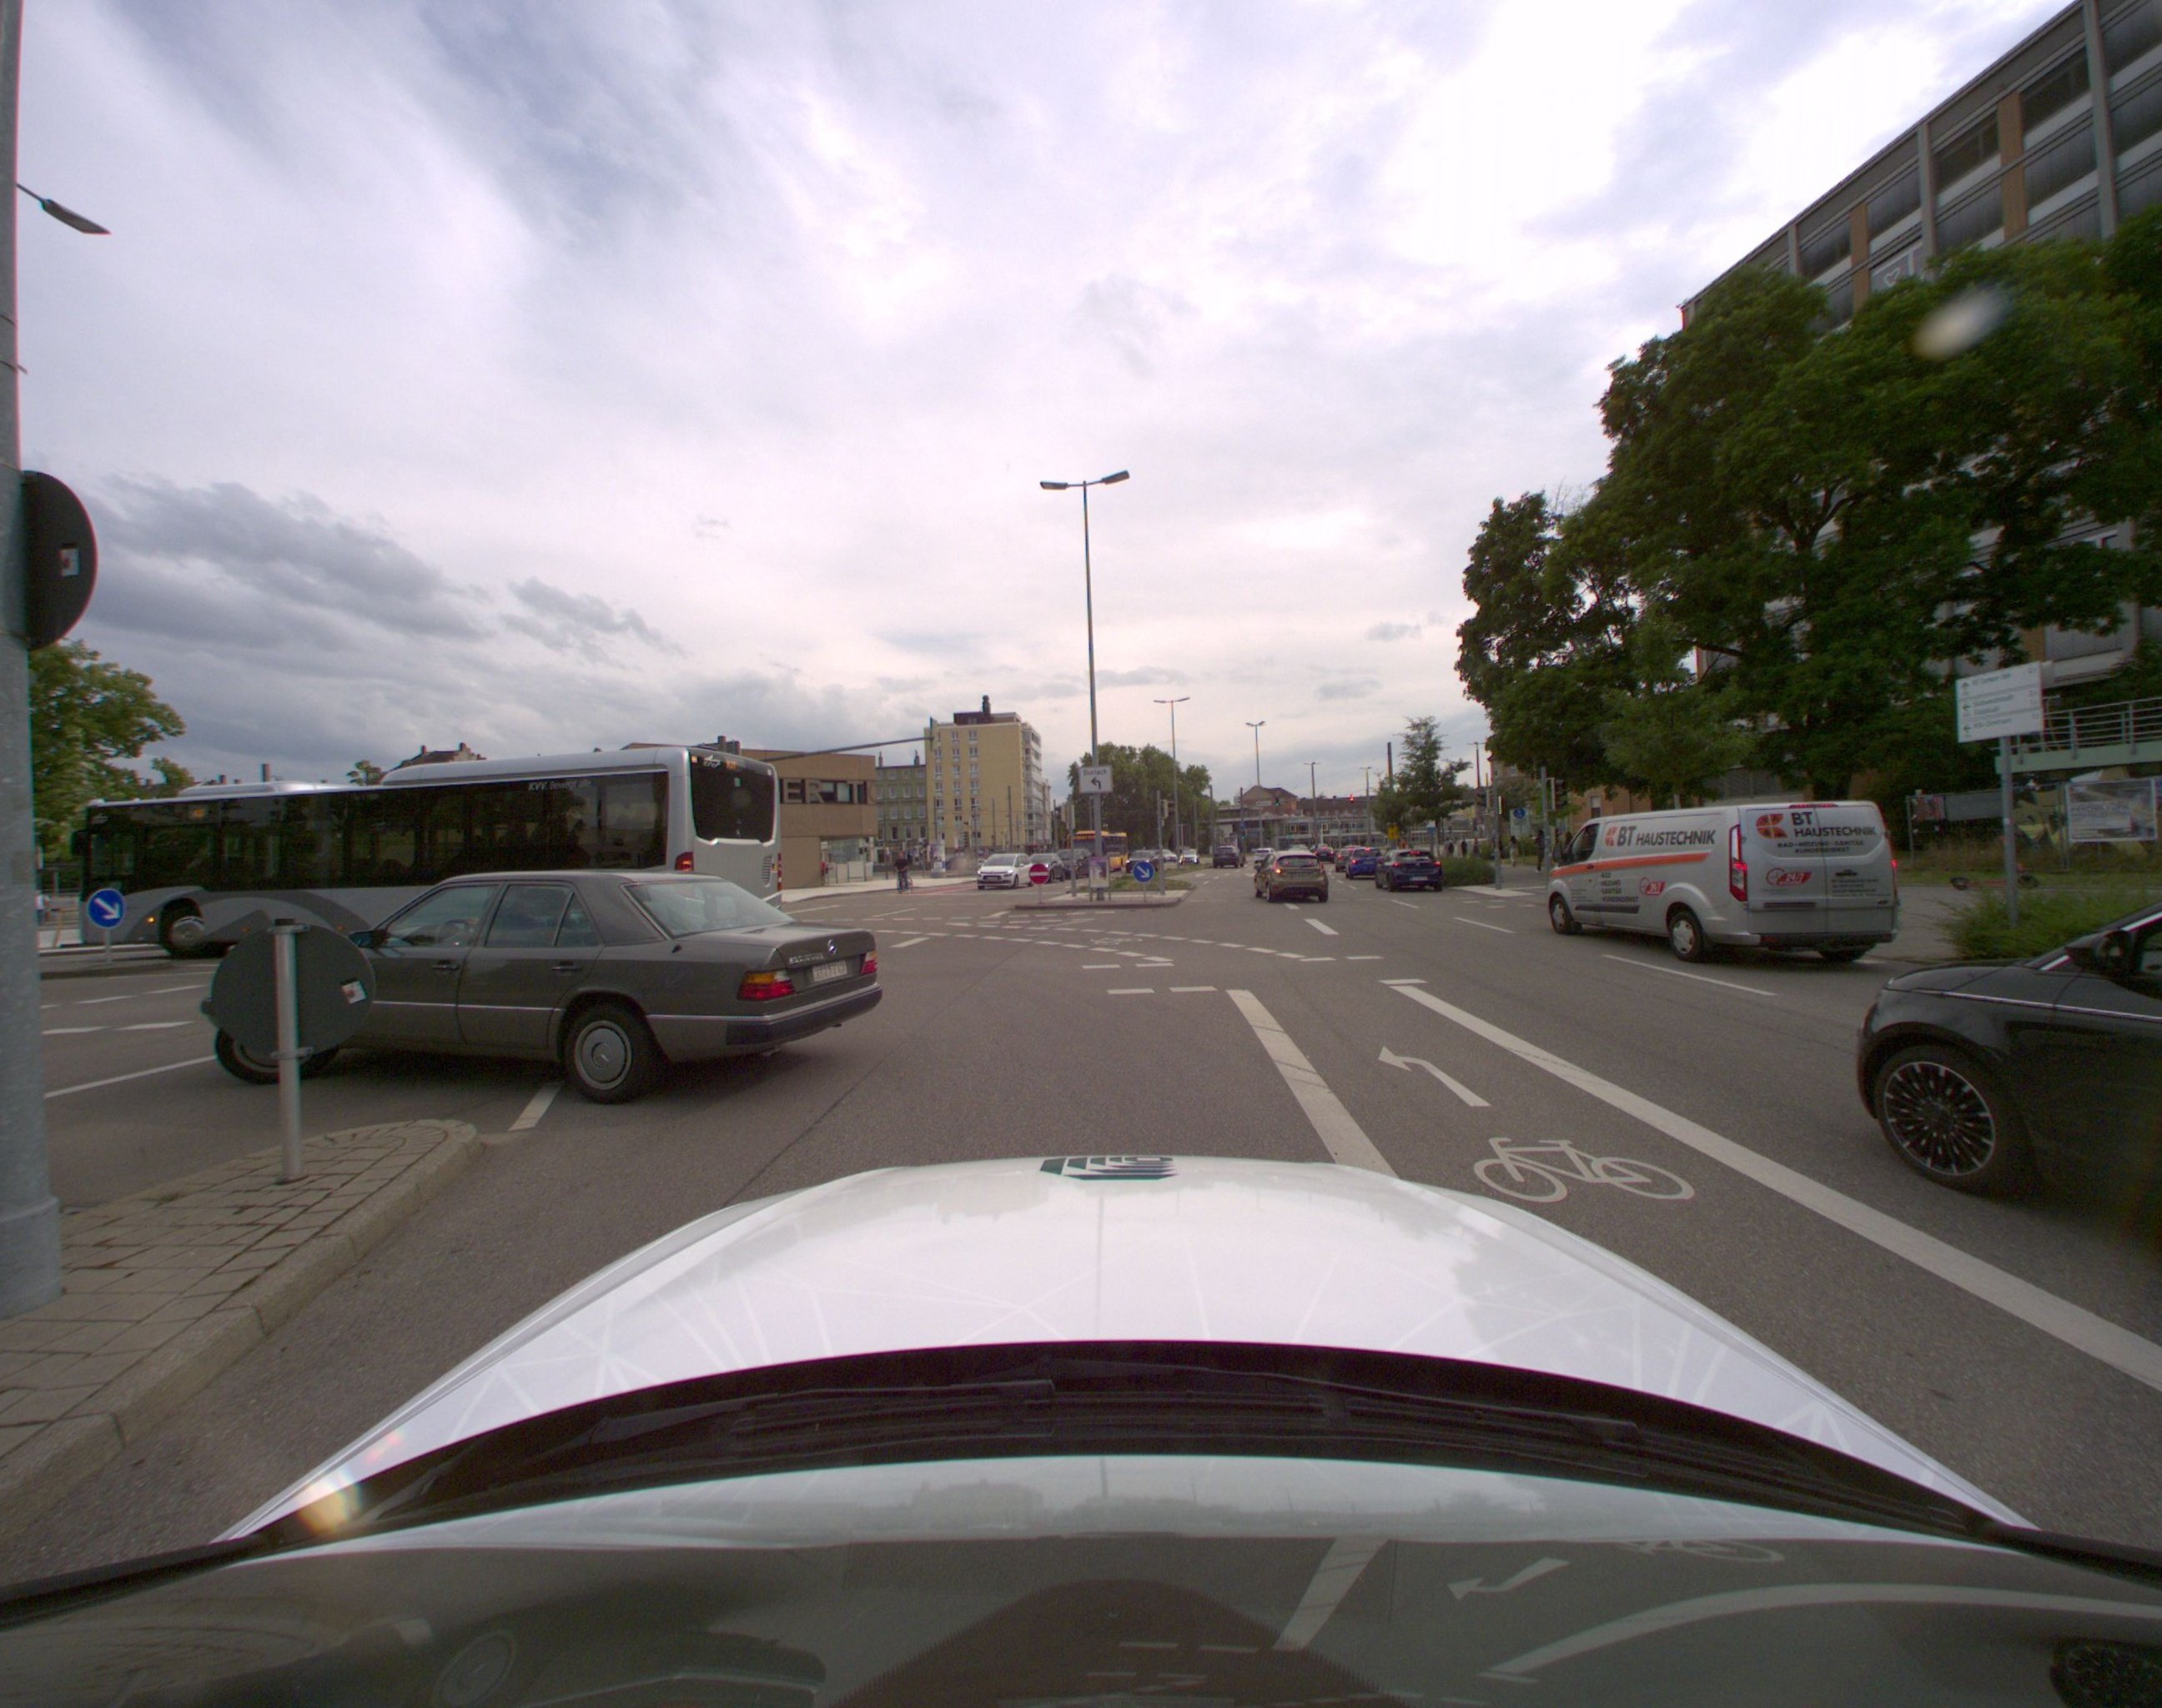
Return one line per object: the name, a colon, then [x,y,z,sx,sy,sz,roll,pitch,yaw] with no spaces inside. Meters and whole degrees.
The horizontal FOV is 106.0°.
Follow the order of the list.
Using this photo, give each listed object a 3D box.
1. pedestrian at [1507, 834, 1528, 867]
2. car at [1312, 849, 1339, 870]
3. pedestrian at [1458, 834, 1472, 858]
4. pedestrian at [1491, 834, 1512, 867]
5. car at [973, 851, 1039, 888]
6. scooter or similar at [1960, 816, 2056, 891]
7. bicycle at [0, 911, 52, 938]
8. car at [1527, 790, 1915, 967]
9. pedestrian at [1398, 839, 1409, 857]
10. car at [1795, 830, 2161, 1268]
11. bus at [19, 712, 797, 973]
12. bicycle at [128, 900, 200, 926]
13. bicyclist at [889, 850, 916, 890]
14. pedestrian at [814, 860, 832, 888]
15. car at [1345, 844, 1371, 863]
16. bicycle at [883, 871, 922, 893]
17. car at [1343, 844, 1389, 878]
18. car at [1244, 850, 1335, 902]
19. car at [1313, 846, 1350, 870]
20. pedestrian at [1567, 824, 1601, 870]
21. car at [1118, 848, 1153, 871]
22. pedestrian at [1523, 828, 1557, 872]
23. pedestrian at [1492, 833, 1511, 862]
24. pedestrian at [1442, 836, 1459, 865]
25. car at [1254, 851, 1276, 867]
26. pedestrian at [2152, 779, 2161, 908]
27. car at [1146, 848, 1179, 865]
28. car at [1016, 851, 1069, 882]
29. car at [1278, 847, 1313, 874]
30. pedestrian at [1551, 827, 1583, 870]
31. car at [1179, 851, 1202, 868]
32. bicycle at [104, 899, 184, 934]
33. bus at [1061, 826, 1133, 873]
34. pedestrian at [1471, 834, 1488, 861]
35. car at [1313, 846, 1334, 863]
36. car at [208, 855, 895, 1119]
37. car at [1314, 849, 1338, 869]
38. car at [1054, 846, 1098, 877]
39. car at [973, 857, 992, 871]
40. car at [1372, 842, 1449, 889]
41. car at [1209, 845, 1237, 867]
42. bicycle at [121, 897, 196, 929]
pedestrian: [21.739,-0.169,40.603,0.771,1.574,0.817,-4,-1,23]
car: [16.787,0.379,55.978,1.697,1.420,4.017,-1,0,17]
pedestrian: [26.250,-0.525,55.681,0.771,1.574,0.817,-4,-1,23]
pedestrian: [20.766,-0.175,40.250,0.771,1.574,0.817,-4,-1,23]
car: [-3.484,0.714,38.575,1.981,1.651,4.303,-1,0,11]
scooter or similar: [17.556,-0.014,15.455,0.398,1.370,1.143,0,-1,-13]
bicycle: [-40.653,2.690,30.872,1.978,0.955,0.577,0,-1,-44]
car: [8.560,0.289,11.697,1.811,1.959,5.212,-1,0,5]
pedestrian: [29.125,-0.543,73.555,0.771,1.574,0.817,-4,-1,23]
car: [4.480,0.646,2.488,1.659,1.489,3.443,-1,0,3]
bus: [-12.322,0.044,14.767,14.038,3.438,2.723,-4,0,13]
bicycle: [-38.786,2.472,34.481,1.978,0.970,0.577,0,-1,-44]
bicyclist: [-7.593,0.677,34.690,0.862,1.669,0.882,-1,-1,6]
pedestrian: [-16.440,1.259,51.975,0.815,1.733,0.772,-3,-1,-35]
car: [20.854,-0.027,61.392,1.690,1.420,3.717,-1,0,17]
bicycle: [-7.584,1.184,34.762,0.858,0.876,2.523,-1,0,6]
car: [13.576,0.348,38.980,1.843,1.533,4.019,-1,0,16]
car: [6.031,0.598,23.967,1.690,1.405,3.698,0,0,-1]
car: [15.584,0.252,50.684,2.116,1.420,3.717,-1,0,17]
pedestrian: [19.022,-0.253,30.792,0.775,1.711,0.812,0,-1,0]
car: [4.107,0.411,60.696,1.981,1.651,4.526,-1,0,11]
pedestrian: [18.260,-0.145,32.438,0.775,1.711,1.028,0,-1,0]
pedestrian: [23.597,-0.353,45.700,0.771,1.574,0.817,-4,-1,23]
pedestrian: [20.532,-0.198,45.255,0.771,1.574,0.817,-4,-1,23]
car: [17.168,0.474,76.061,1.697,1.420,4.017,-1,0,17]
pedestrian: [15.797,-0.161,11.380,0.636,1.852,0.708,-3,-1,0]
car: [10.054,0.305,100.412,2.007,2.014,3.959,0,0,-32]
car: [-2.102,0.670,45.885,1.981,1.651,4.303,-1,0,11]
car: [11.560,0.340,43.694,1.697,1.420,4.017,-1,0,16]
pedestrian: [19.610,-0.221,32.865,0.775,1.711,0.812,0,-1,0]
car: [11.154,0.517,82.761,1.981,1.651,4.526,-1,0,11]
bicycle: [-35.188,2.329,30.609,0.576,1.156,1.979,-1,-1,40]
bus: [1.479,-0.275,62.612,3.126,3.255,12.455,-1,0,12]
pedestrian: [23.891,-0.372,48.820,0.771,1.574,0.817,-4,-1,23]
car: [21.045,0.018,70.677,1.697,1.420,4.017,-1,0,17]
car: [-3.766,0.769,5.961,4.369,1.480,1.708,-1,0,15]
car: [18.492,0.391,61.494,1.697,1.420,4.017,-1,0,17]
car: [-0.288,0.493,52.203,1.981,1.898,4.303,-1,0,11]
car: [-14.714,1.507,121.668,1.983,2.014,4.007,-1,0,6]
car: [11.304,0.396,28.143,1.656,1.508,3.643,-1,0,8]
car: [10.802,0.155,61.696,1.822,1.615,3.559,-1,0,13]
bicycle: [-37.006,2.355,32.678,0.576,1.156,1.979,-1,-1,40]
